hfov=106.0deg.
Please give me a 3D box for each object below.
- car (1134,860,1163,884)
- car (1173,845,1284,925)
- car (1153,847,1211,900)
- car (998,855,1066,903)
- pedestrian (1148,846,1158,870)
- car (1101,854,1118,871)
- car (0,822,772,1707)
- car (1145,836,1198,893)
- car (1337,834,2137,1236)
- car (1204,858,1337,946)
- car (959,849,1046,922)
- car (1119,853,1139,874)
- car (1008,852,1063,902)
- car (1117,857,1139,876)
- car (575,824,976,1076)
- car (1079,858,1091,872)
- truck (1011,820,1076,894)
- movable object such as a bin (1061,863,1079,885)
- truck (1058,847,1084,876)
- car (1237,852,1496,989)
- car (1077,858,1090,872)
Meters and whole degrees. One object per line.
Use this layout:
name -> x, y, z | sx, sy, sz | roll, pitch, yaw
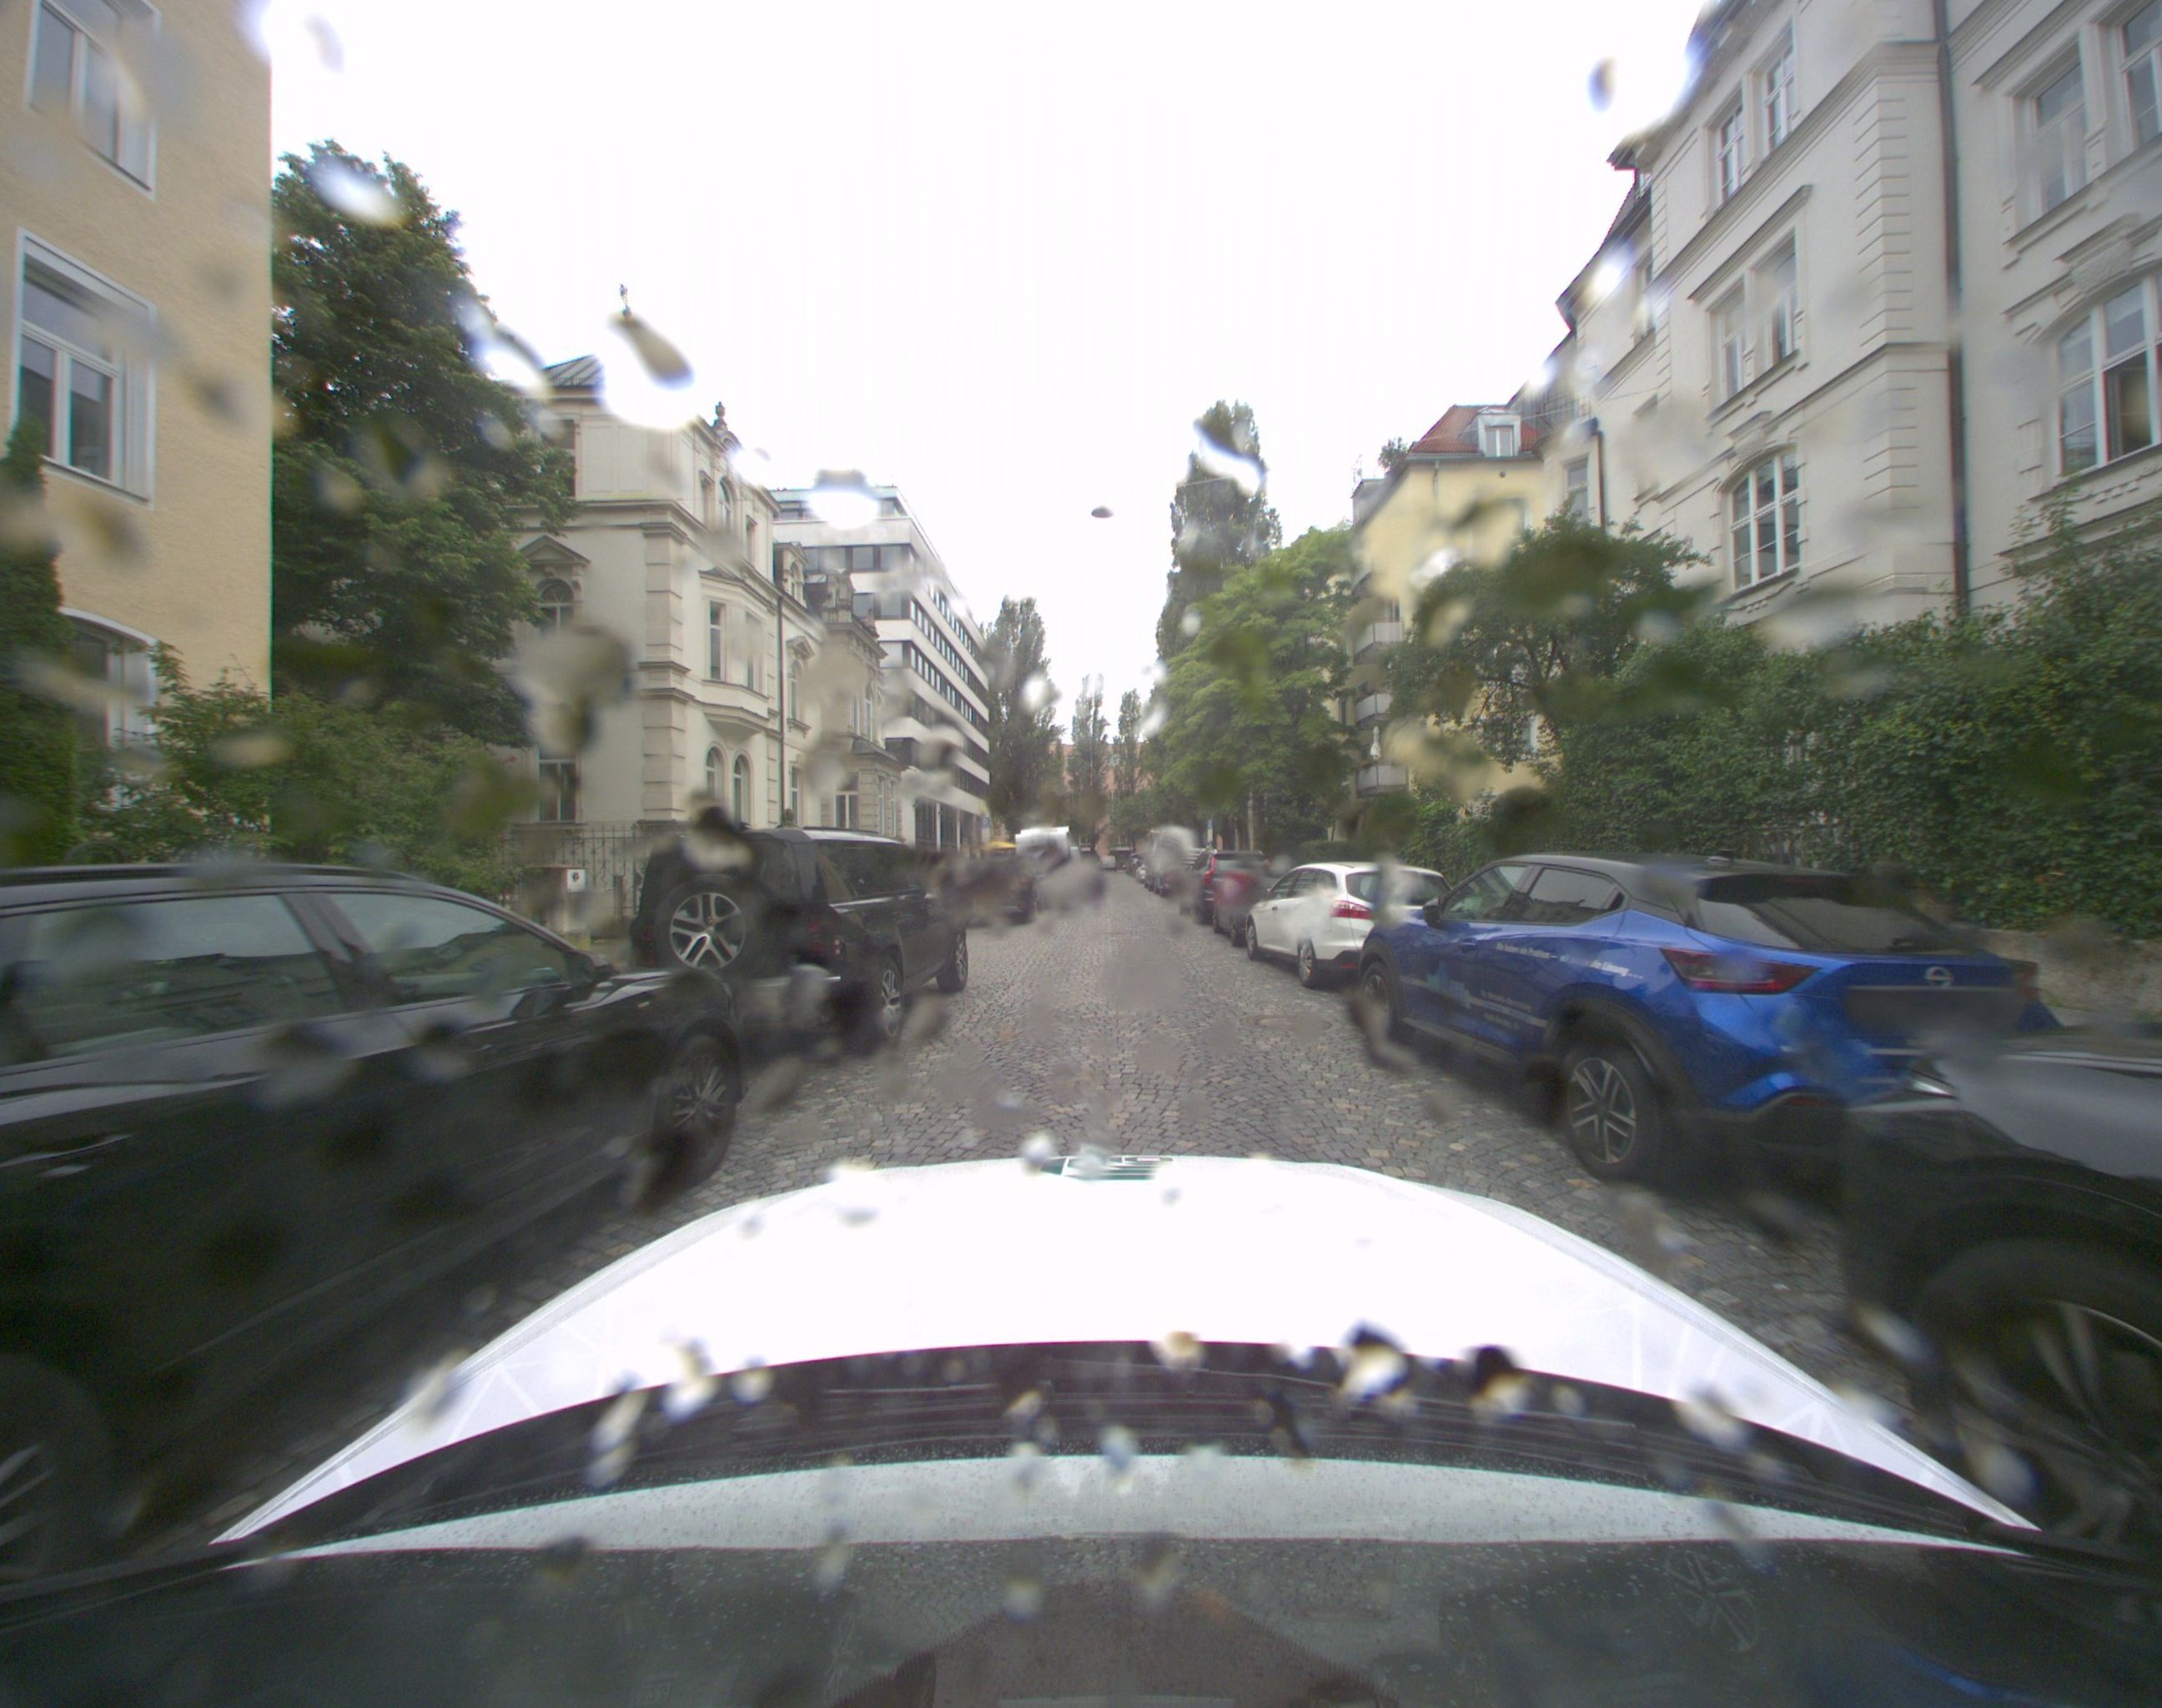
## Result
car -> 4.229, 1.142, 51.574 | 1.594, 1.486, 3.479 | 0, -1, 1
car -> 3.531, 0.729, 20.417 | 1.956, 1.759, 4.954 | 0, -1, 1
car -> 4.036, 0.782, 33.286 | 1.794, 1.950, 4.861 | 2, -1, 1
car -> -1.523, 0.797, 26.628 | 1.933, 1.459, 4.058 | 0, -1, 1
pedestrian -> 7.586, 0.464, 85.764 | 0.708, 2.425, 0.814 | -6, 3, 3
car -> 3.383, 1.003, 96.478 | 1.988, 1.936, 4.003 | -1, -1, 3
car -> -2.685, 0.792, 2.625 | 1.573, 1.590, 4.059 | -3, -1, 3
car -> 4.239, 0.453, 38.998 | 1.888, 2.426, 5.612 | 3, 0, 1
car -> 3.191, 0.730, 5.235 | 1.704, 1.482, 4.248 | 2, -1, -1
car -> 3.485, 0.840, 15.663 | 1.677, 1.453, 3.966 | 1, -1, 1
car -> -1.925, 0.778, 21.238 | 1.767, 1.718, 4.391 | 0, -1, 1
car -> 4.613, 0.935, 78.192 | 1.860, 1.961, 4.003 | -1, -1, 3
car -> -1.701, 0.857, 31.696 | 1.888, 1.751, 4.167 | -1, -1, 0
car -> 4.014, 1.110, 70.096 | 1.860, 1.605, 3.274 | -1, -1, 3
car -> -2.437, 0.676, 8.026 | 1.974, 1.737, 4.725 | 0, 0, 3
car -> 0.492, 1.258, 92.469 | 1.272, 1.541, 3.119 | 0, -1, 2
truck -> -1.620, 0.148, 37.790 | 2.500, 3.032, 6.384 | -2, 0, 1
movable object such as a bin -> -0.707, 1.245, 51.444 | 1.060, 1.363, 1.290 | 0, -1, 1
truck -> -0.790, 0.619, 66.614 | 1.986, 2.347, 4.069 | 0, -1, 2
car -> 3.413, 0.733, 10.730 | 1.769, 1.429, 4.387 | 0, -1, -2
car -> 0.309, 1.180, 87.404 | 1.285, 1.540, 3.119 | 0, -1, 2
